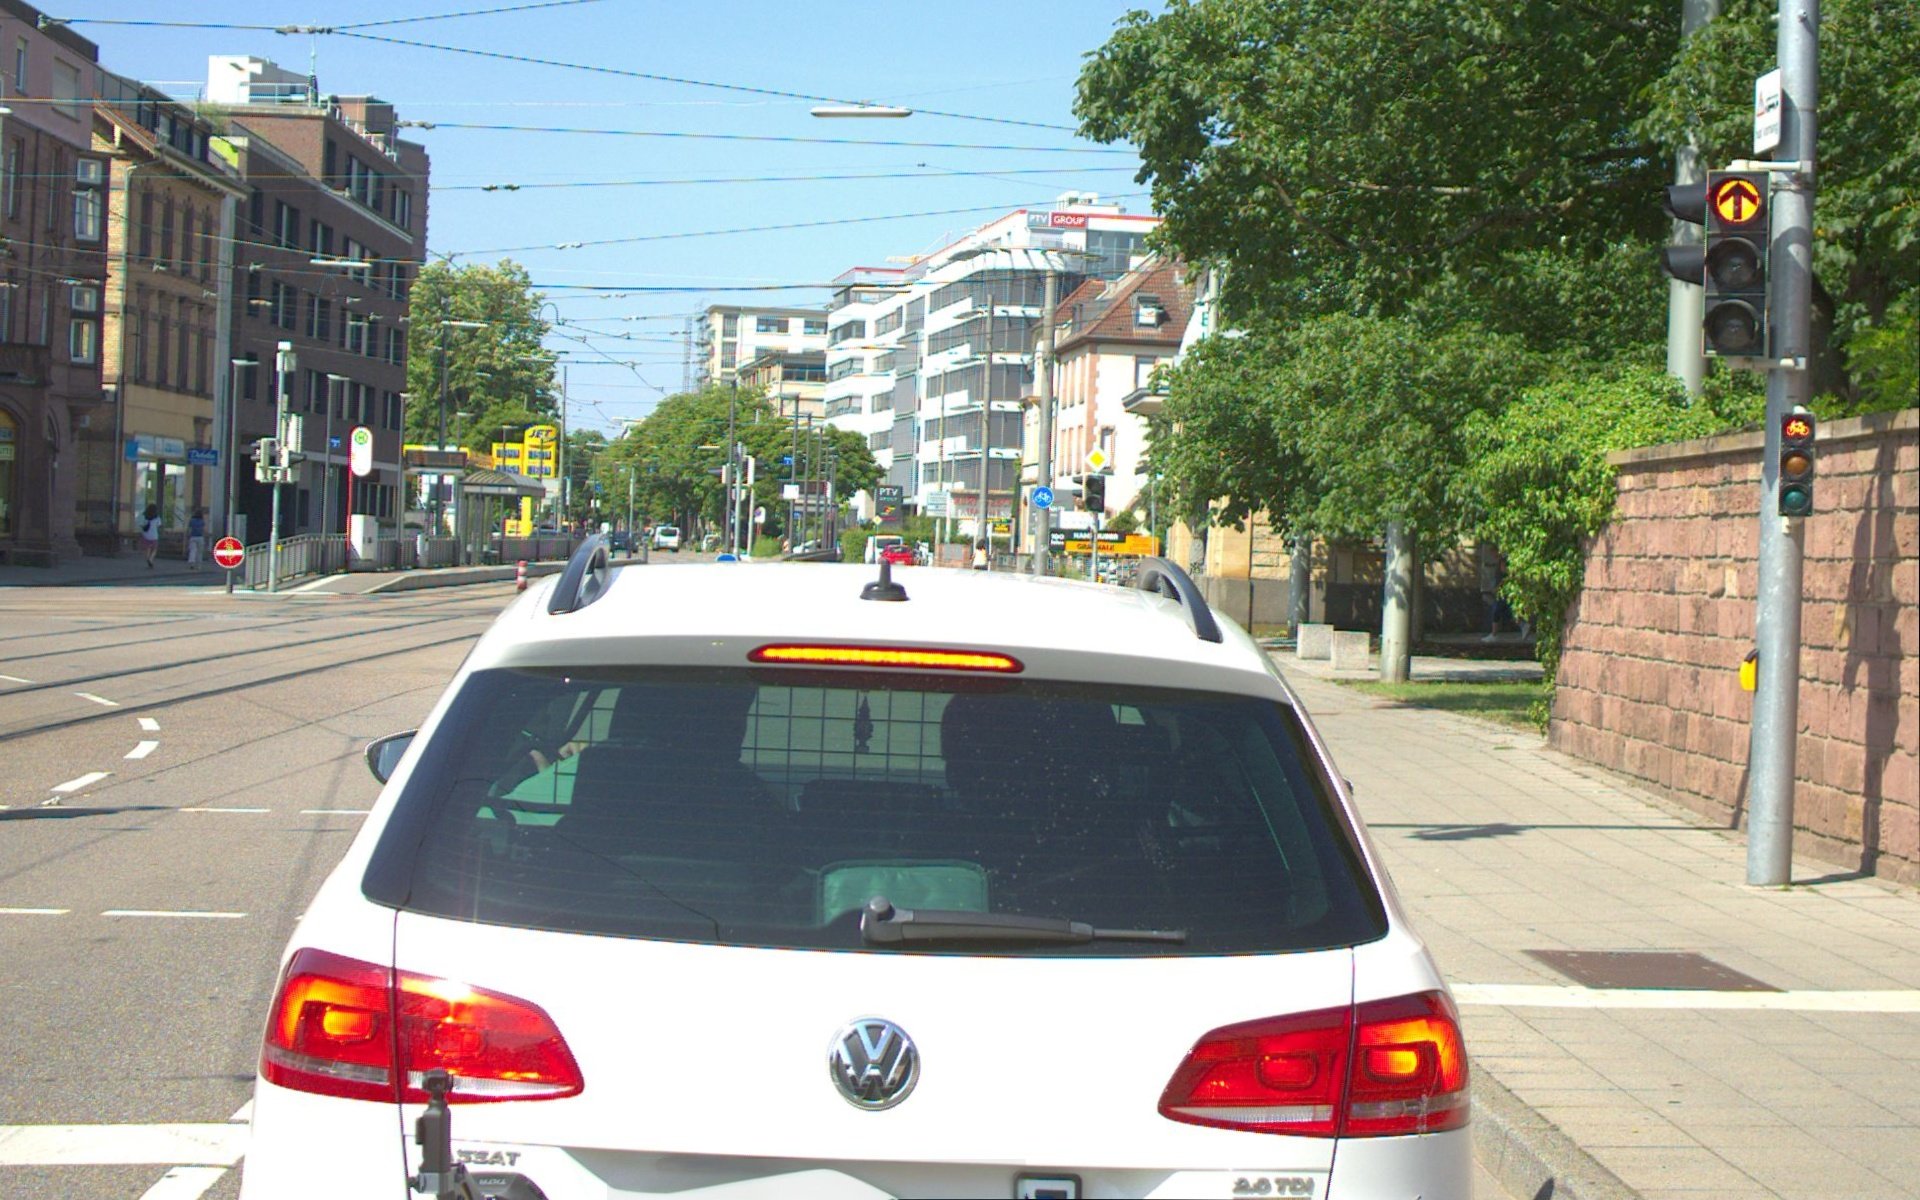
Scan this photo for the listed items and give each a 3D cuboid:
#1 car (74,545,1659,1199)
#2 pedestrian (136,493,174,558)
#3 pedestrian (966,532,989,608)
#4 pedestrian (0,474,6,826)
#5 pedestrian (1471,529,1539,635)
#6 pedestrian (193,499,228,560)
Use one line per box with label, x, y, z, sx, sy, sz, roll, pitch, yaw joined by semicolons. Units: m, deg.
car;-0.147;0.661;5.970;1.808;1.443;4.000;2;1;-1
pedestrian;-21.733;-2.010;92.820;0.861;1.737;0.975;0;0;-6
pedestrian;0.533;-0.922;105.246;0.690;2.317;1.232;0;0;1
pedestrian;-5.127;0.229;16.239;0.972;1.645;0.956;0;0;-31
pedestrian;9.050;-0.299;57.046;0.972;1.737;0.863;0;0;19
pedestrian;-21.545;-2.022;98.878;0.861;1.737;0.975;0;0;-6
